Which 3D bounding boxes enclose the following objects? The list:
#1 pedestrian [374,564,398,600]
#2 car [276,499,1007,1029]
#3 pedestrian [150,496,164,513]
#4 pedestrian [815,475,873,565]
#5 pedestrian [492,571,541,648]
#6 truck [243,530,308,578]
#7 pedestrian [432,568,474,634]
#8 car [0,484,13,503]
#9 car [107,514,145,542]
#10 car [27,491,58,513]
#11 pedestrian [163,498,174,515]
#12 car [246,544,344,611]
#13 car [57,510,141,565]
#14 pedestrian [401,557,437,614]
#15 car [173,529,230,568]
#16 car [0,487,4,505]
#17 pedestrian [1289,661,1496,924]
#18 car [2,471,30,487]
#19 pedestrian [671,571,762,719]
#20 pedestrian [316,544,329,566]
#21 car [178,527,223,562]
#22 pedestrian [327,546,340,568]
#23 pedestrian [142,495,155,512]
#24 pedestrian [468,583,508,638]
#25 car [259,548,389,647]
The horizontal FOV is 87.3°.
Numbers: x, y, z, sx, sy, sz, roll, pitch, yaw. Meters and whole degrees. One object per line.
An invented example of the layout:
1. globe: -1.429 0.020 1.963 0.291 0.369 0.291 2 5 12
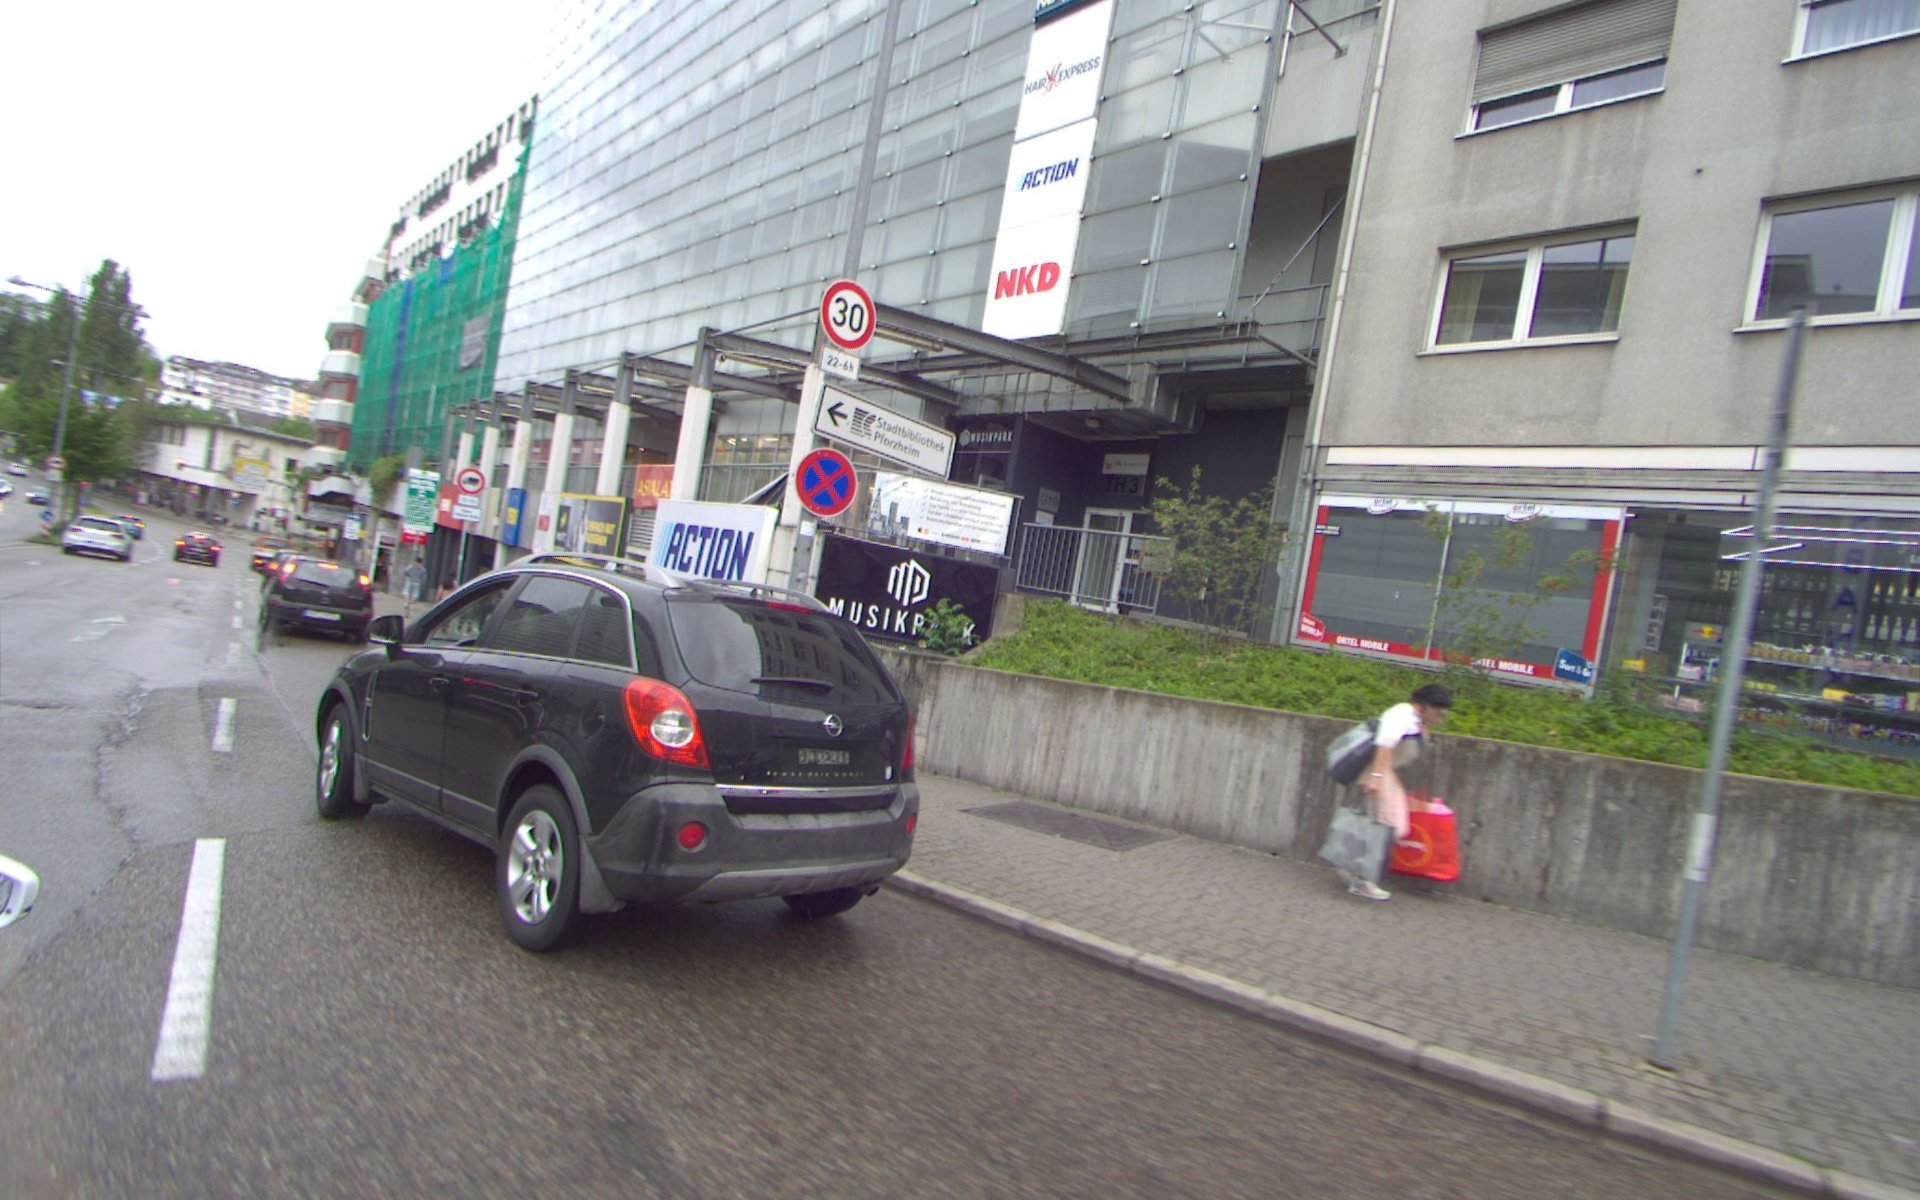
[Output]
1. pedestrian: -28.095 -0.884 49.256 0.631 1.669 0.563 6 -1 4
2. car: -2.071 0.556 5.780 4.240 1.807 1.905 8 0 41
3. pedestrian: -92.299 -10.964 115.629 1.040 1.824 0.846 7 -1 38
4. pedestrian: -2.413 -1.654 20.961 0.821 1.708 0.592 8 -1 -38
5. pedestrian: -10.685 0.227 24.219 0.829 1.743 0.613 8 -1 -29
6. truck: -38.209 -2.591 56.103 2.178 2.105 5.539 11 -3 -41
7. pedestrian: -12.011 0.028 23.825 0.740 1.455 0.593 7 0 -29
8. car: -86.895 -9.705 90.736 3.947 1.566 1.776 7 -3 44
9. car: -56.570 -4.922 68.227 1.789 1.484 3.954 11 -3 -41
10. car: -80.044 -8.553 87.809 1.816 1.566 3.952 11 -3 -42
11. pedestrian: -91.513 -10.771 116.309 0.924 1.824 0.702 7 -1 38
12. car: -20.683 -0.721 31.237 1.944 1.591 3.956 11 -3 -40
13. car: -31.839 -2.317 37.307 1.943 1.591 3.959 11 -3 -38
14. pedestrian: -17.743 -0.477 32.971 0.829 1.743 0.823 8 -1 -29
15. car: -38.141 -2.595 50.529 1.809 1.456 3.952 13 -4 -42
16. car: -82.058 -8.965 84.955 3.812 1.467 1.704 7 -3 45
17. pedestrian: 3.053 1.267 7.074 1.011 1.551 1.055 7 1 34
18. car: -121.059 -15.544 128.935 3.942 1.613 1.994 7 -3 40
19. pedestrian: -3.345 0.600 13.767 0.597 1.862 1.001 8 0 -40
20. pedestrian: -52.618 -3.689 83.029 0.642 1.719 0.575 7 -1 42
21. car: -44.766 -3.274 59.260 1.756 1.560 3.954 11 -2 -40
22. pedestrian: -52.002 -3.552 83.471 0.641 1.719 0.575 7 -1 38
23. pedestrian: -93.728 -11.160 116.222 0.904 1.824 0.798 7 -1 38
24. pedestrian: -11.332 0.244 24.143 0.685 1.222 0.550 8 -1 -29
25. car: -11.919 -0.100 18.789 1.708 1.435 3.736 10 -3 -34
